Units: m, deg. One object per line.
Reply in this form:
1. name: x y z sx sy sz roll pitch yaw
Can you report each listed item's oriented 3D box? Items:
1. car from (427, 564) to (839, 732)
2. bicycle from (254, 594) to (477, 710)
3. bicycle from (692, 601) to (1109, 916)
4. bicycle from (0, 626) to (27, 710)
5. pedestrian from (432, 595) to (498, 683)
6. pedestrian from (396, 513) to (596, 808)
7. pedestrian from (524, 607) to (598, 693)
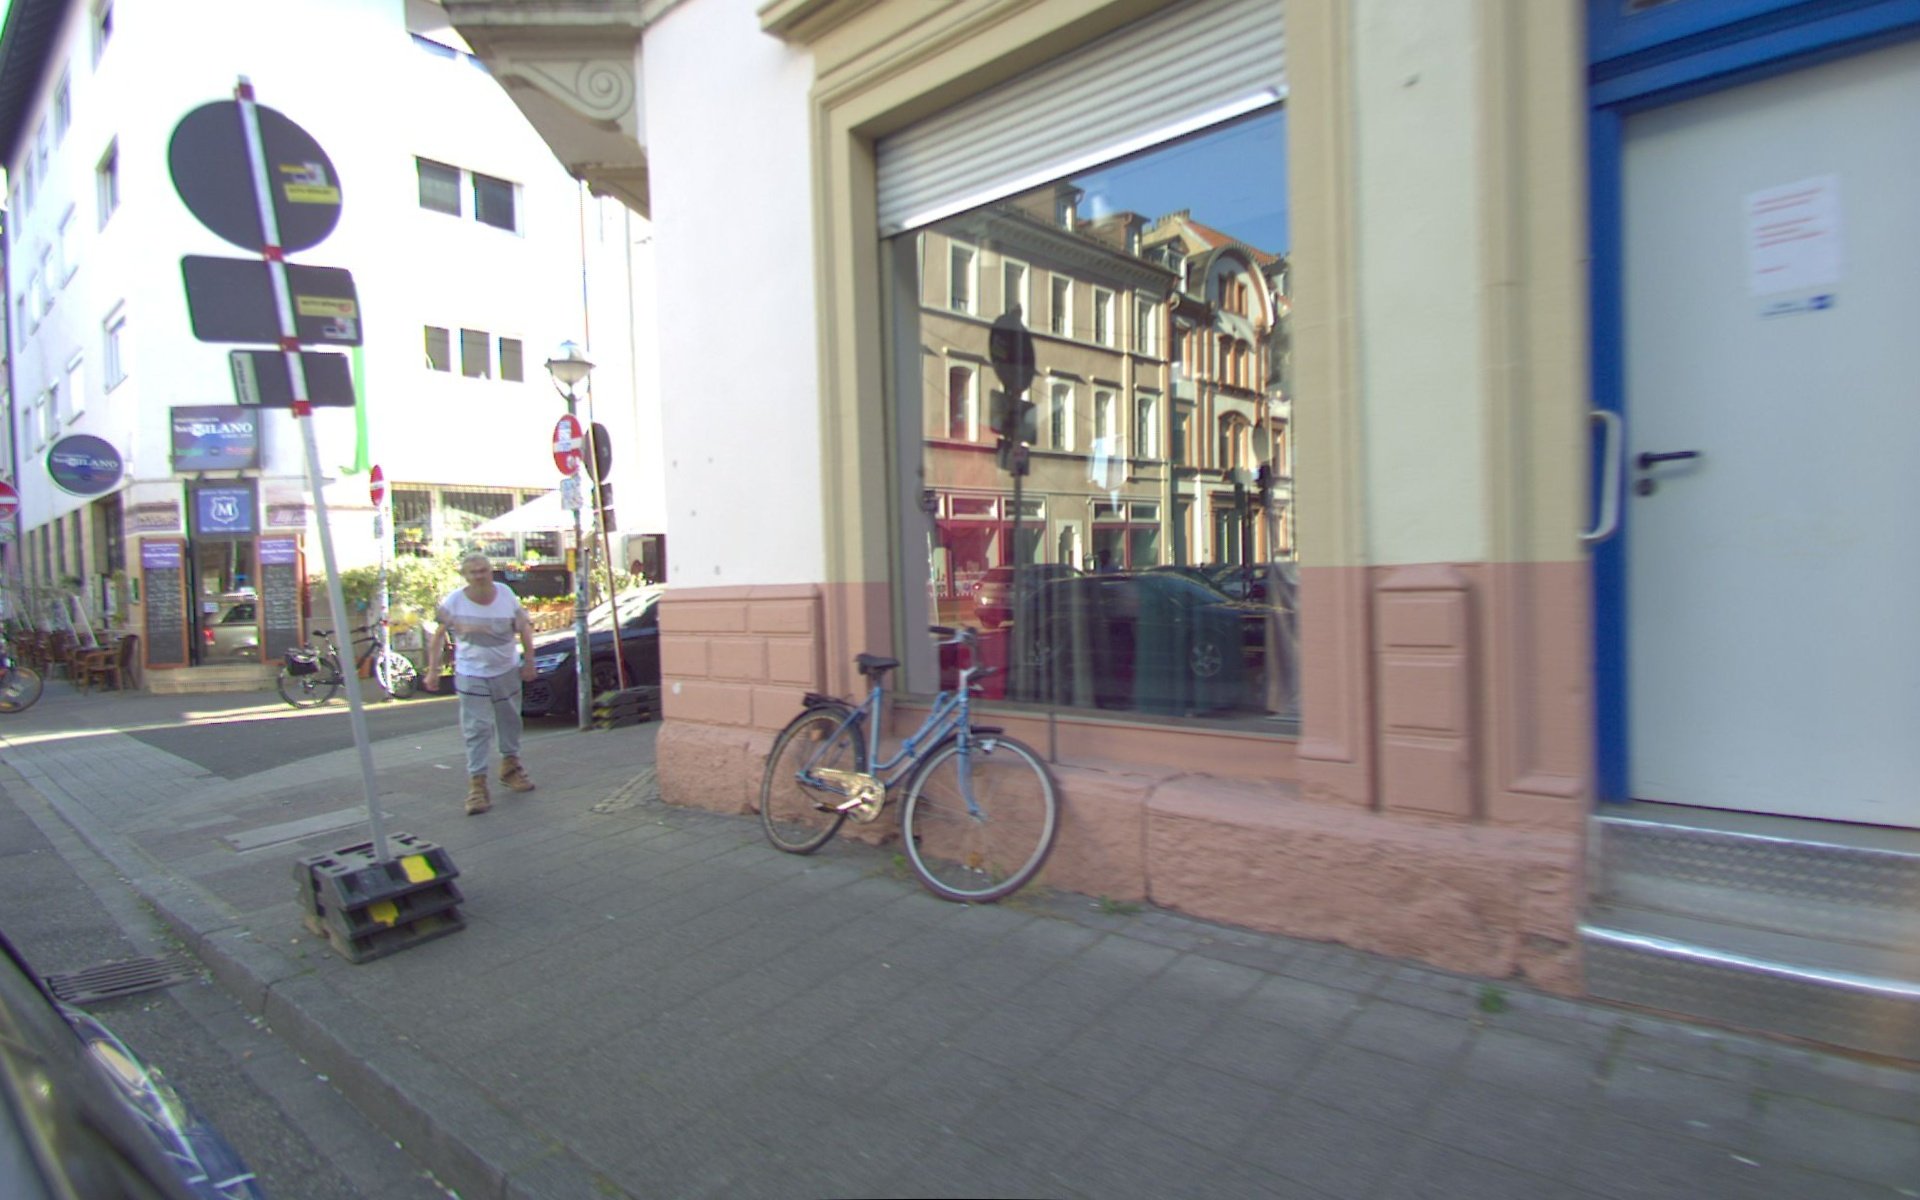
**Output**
1. car: -3.501 0.401 11.468 1.757 1.466 4.098 -1 2 40
2. bicycle: -8.115 0.654 13.931 0.928 1.369 2.449 -1 2 42
3. bicycle: -0.327 0.562 4.311 1.818 1.029 0.597 -1 5 42
4. bicycle: -14.027 0.970 14.553 1.458 1.147 0.571 -1 3 37
5. pedestrian: -7.645 0.588 15.633 0.678 1.275 0.660 -5 3 -45
6. pedestrian: -2.974 0.361 6.492 0.865 1.713 0.687 -4 4 42
7. pedestrian: -6.379 0.771 16.187 0.838 1.275 0.707 -5 3 -45
